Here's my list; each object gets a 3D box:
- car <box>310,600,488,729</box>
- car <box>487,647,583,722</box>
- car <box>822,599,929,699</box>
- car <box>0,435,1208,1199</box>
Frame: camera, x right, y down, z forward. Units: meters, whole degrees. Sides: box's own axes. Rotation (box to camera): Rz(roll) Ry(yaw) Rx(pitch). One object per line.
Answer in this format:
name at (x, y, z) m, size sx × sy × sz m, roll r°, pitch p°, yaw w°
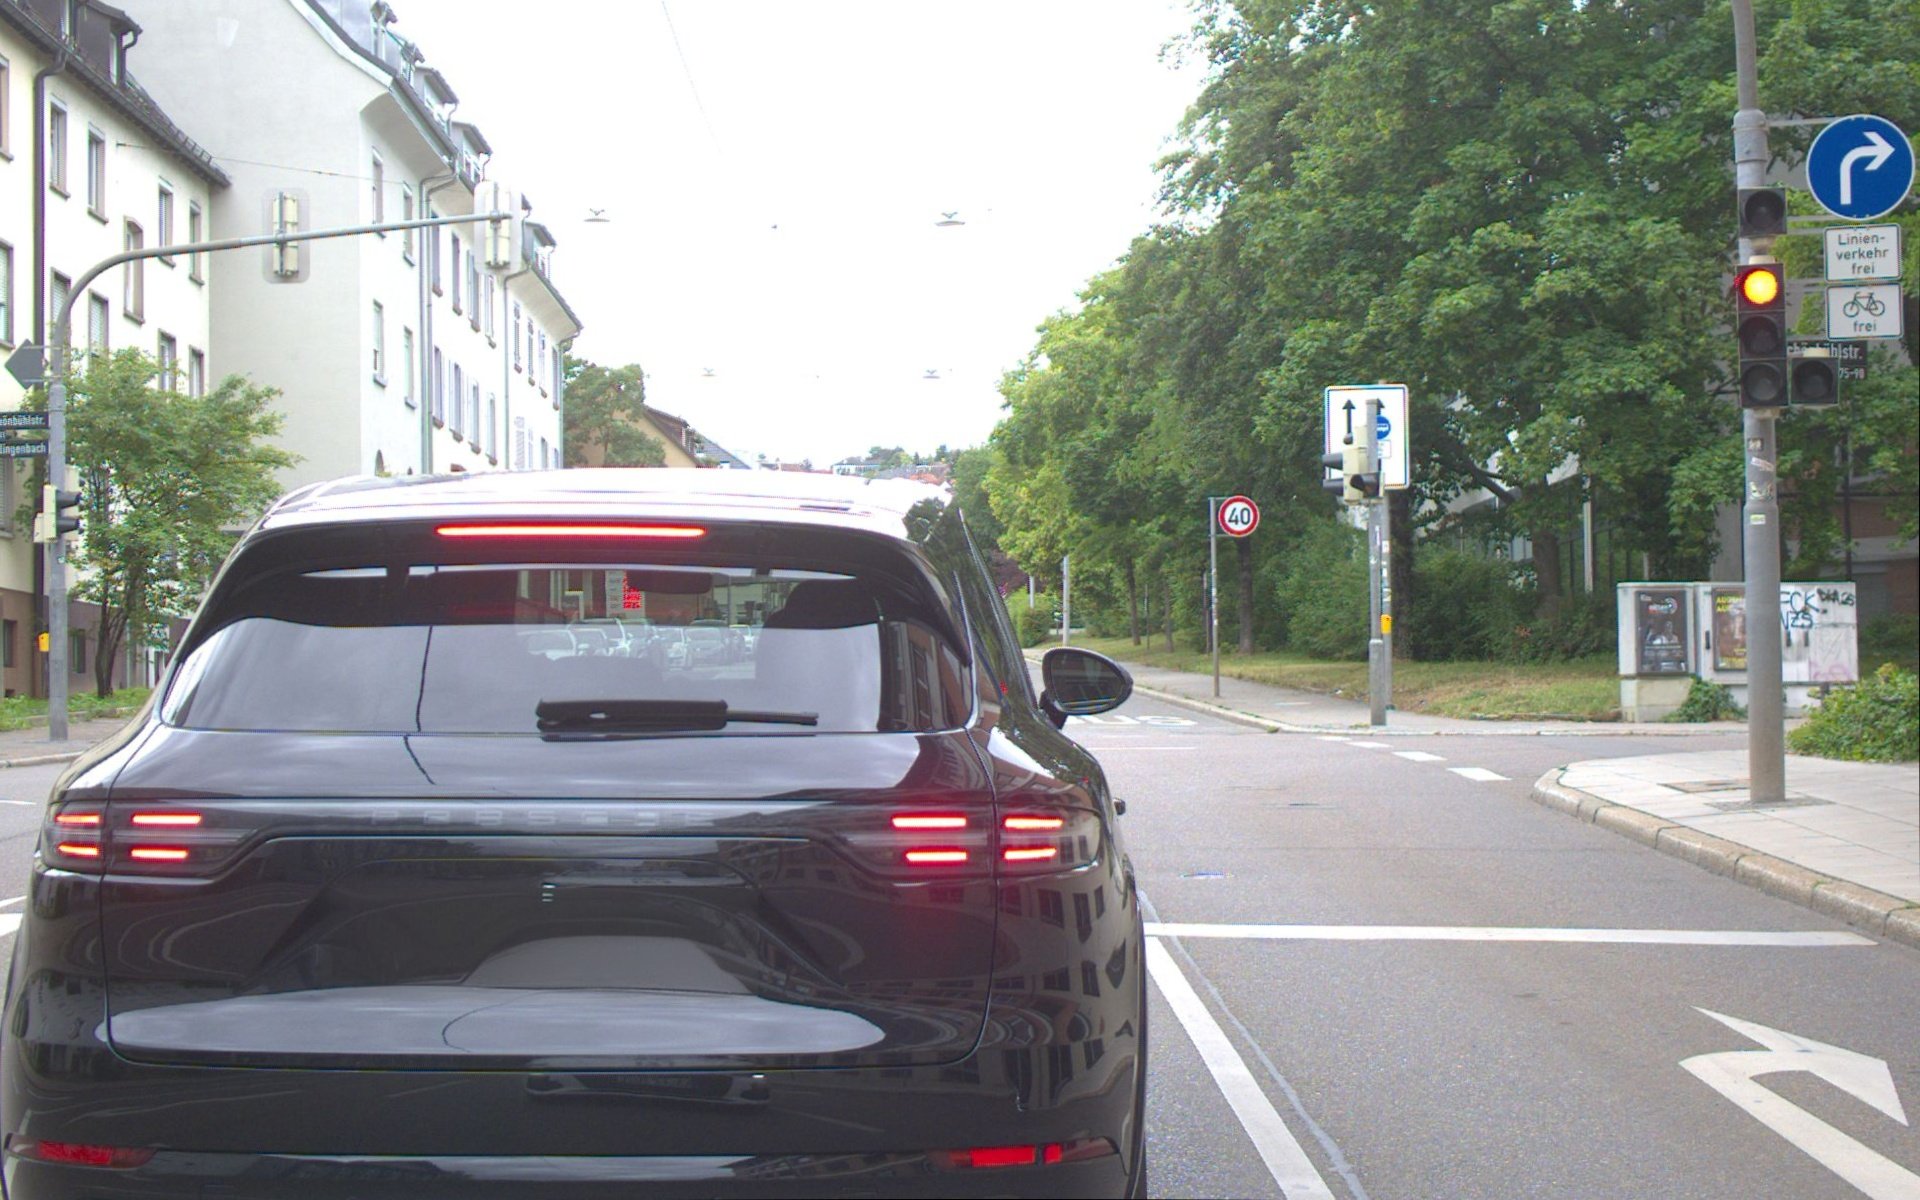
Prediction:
car at (-7.432, 0.823, 45.849) m, size 1.664 × 1.514 × 3.740 m, roll -4°, pitch 1°, yaw 0°
car at (-8.528, 1.674, 69.213) m, size 1.669 × 1.357 × 4.001 m, roll 0°, pitch 1°, yaw -3°
car at (-1.403, 0.781, 56.752) m, size 1.688 × 1.547 × 3.889 m, roll 1°, pitch 1°, yaw -2°
car at (-0.660, 0.589, 7.150) m, size 1.993 × 1.691 × 4.000 m, roll 1°, pitch 1°, yaw -1°
